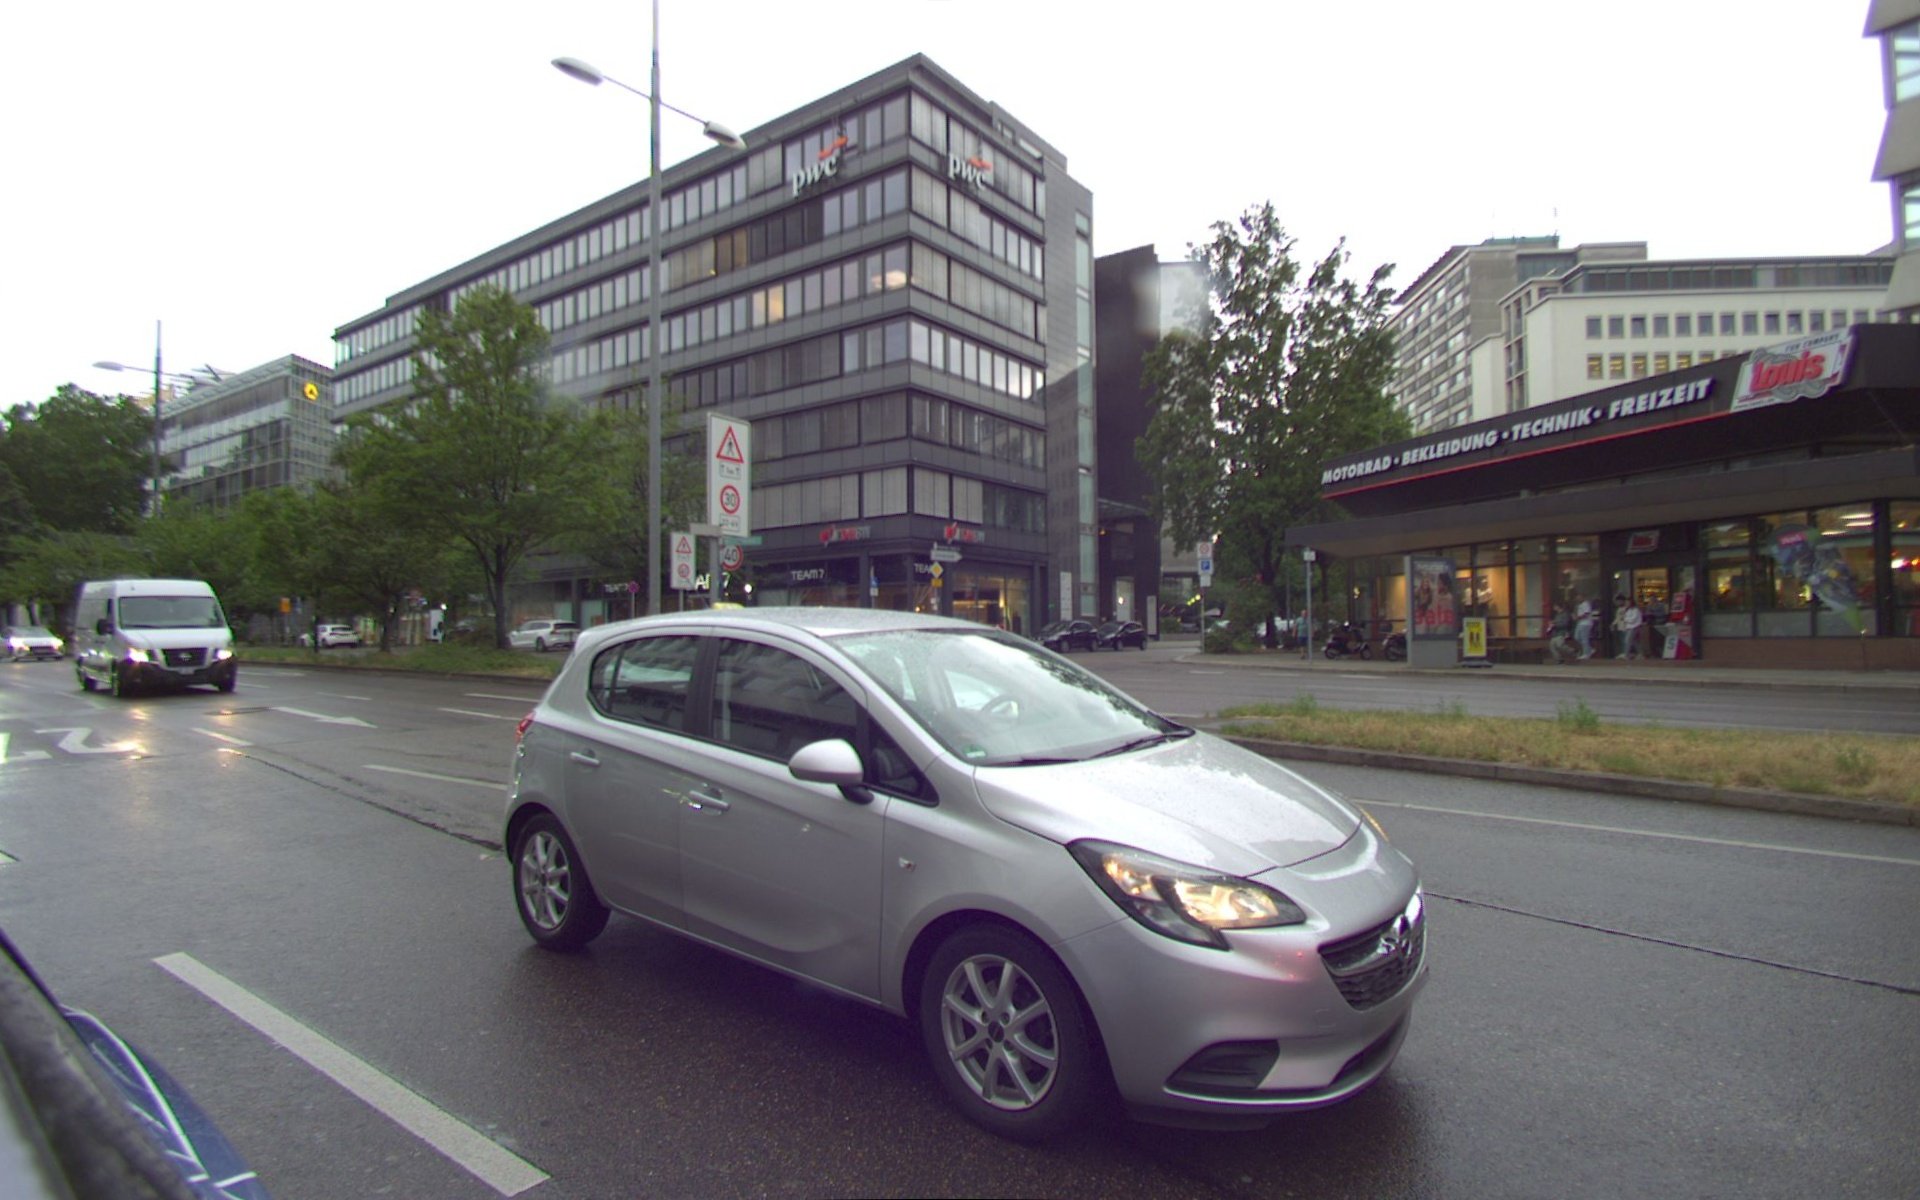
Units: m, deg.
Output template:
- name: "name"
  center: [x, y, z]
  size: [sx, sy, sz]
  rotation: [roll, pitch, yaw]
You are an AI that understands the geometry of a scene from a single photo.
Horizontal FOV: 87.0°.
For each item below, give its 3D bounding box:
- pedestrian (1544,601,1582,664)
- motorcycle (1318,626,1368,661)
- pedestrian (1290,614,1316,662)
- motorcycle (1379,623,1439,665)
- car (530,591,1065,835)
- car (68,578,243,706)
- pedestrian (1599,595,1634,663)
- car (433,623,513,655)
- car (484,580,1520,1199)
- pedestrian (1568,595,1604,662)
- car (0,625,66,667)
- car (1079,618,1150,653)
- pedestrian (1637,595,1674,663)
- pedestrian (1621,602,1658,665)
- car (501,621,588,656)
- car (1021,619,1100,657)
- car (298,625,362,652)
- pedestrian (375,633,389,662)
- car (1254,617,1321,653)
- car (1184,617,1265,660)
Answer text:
- name: "pedestrian"
  center: [15.763, 0.844, 26.457]
  size: [0.605, 1.623, 0.614]
  rotation: [0, -1, -29]
- name: "motorcycle"
  center: [12.970, 1.462, 34.277]
  size: [1.600, 1.153, 0.360]
  rotation: [-1, -1, -8]
- name: "pedestrian"
  center: [12.216, 1.342, 36.031]
  size: [0.731, 1.661, 0.693]
  rotation: [-2, -1, 30]
- name: "motorcycle"
  center: [13.839, 1.350, 31.224]
  size: [1.646, 1.242, 0.360]
  rotation: [-1, -1, 2]
- name: "car"
  center: [-1.610, 0.765, 8.666]
  size: [4.773, 1.545, 1.846]
  rotation: [-2, -1, 40]
- name: "car"
  center: [-17.557, 0.866, 21.983]
  size: [5.475, 2.459, 1.927]
  rotation: [-2, -1, 40]
- name: "pedestrian"
  center: [17.287, 0.759, 26.658]
  size: [0.532, 1.757, 0.560]
  rotation: [0, -1, -29]
- name: "car"
  center: [-24.593, 1.972, 51.098]
  size: [4.100, 1.518, 1.975]
  rotation: [-2, -1, 36]
- name: "car"
  center: [-0.155, 0.722, 3.976]
  size: [3.872, 1.446, 1.631]
  rotation: [-2, -1, 40]
- name: "pedestrian"
  center: [16.706, 0.766, 27.009]
  size: [0.605, 1.757, 0.560]
  rotation: [0, -1, -29]
- name: "car"
  center: [-39.343, 1.920, 42.669]
  size: [3.489, 1.630, 1.745]
  rotation: [-2, -1, 36]
- name: "car"
  center: [7.580, 1.723, 49.465]
  size: [1.847, 1.596, 3.716]
  rotation: [-2, -1, 37]
- name: "pedestrian"
  center: [18.135, 0.748, 26.387]
  size: [0.532, 1.757, 0.560]
  rotation: [0, -1, -29]
- name: "pedestrian"
  center: [17.407, 0.844, 25.930]
  size: [0.532, 1.582, 0.560]
  rotation: [0, -1, -29]
- name: "car"
  center: [-19.404, 1.790, 47.248]
  size: [3.992, 1.518, 1.975]
  rotation: [-2, -1, 36]
- name: "car"
  center: [4.546, 1.666, 45.469]
  size: [1.847, 1.596, 3.716]
  rotation: [-2, -1, 37]
- name: "car"
  center: [-37.938, 2.293, 60.909]
  size: [3.992, 1.518, 1.975]
  rotation: [-2, -1, 36]
- name: "pedestrian"
  center: [-40.743, 3.335, 71.305]
  size: [0.500, 2.029, 0.681]
  rotation: [-2, -1, 38]
- name: "car"
  center: [15.571, 1.635, 48.037]
  size: [1.847, 1.596, 3.716]
  rotation: [-2, -1, 37]
- name: "car"
  center: [10.674, 1.512, 40.636]
  size: [1.847, 1.596, 3.716]
  rotation: [-2, -1, 37]
